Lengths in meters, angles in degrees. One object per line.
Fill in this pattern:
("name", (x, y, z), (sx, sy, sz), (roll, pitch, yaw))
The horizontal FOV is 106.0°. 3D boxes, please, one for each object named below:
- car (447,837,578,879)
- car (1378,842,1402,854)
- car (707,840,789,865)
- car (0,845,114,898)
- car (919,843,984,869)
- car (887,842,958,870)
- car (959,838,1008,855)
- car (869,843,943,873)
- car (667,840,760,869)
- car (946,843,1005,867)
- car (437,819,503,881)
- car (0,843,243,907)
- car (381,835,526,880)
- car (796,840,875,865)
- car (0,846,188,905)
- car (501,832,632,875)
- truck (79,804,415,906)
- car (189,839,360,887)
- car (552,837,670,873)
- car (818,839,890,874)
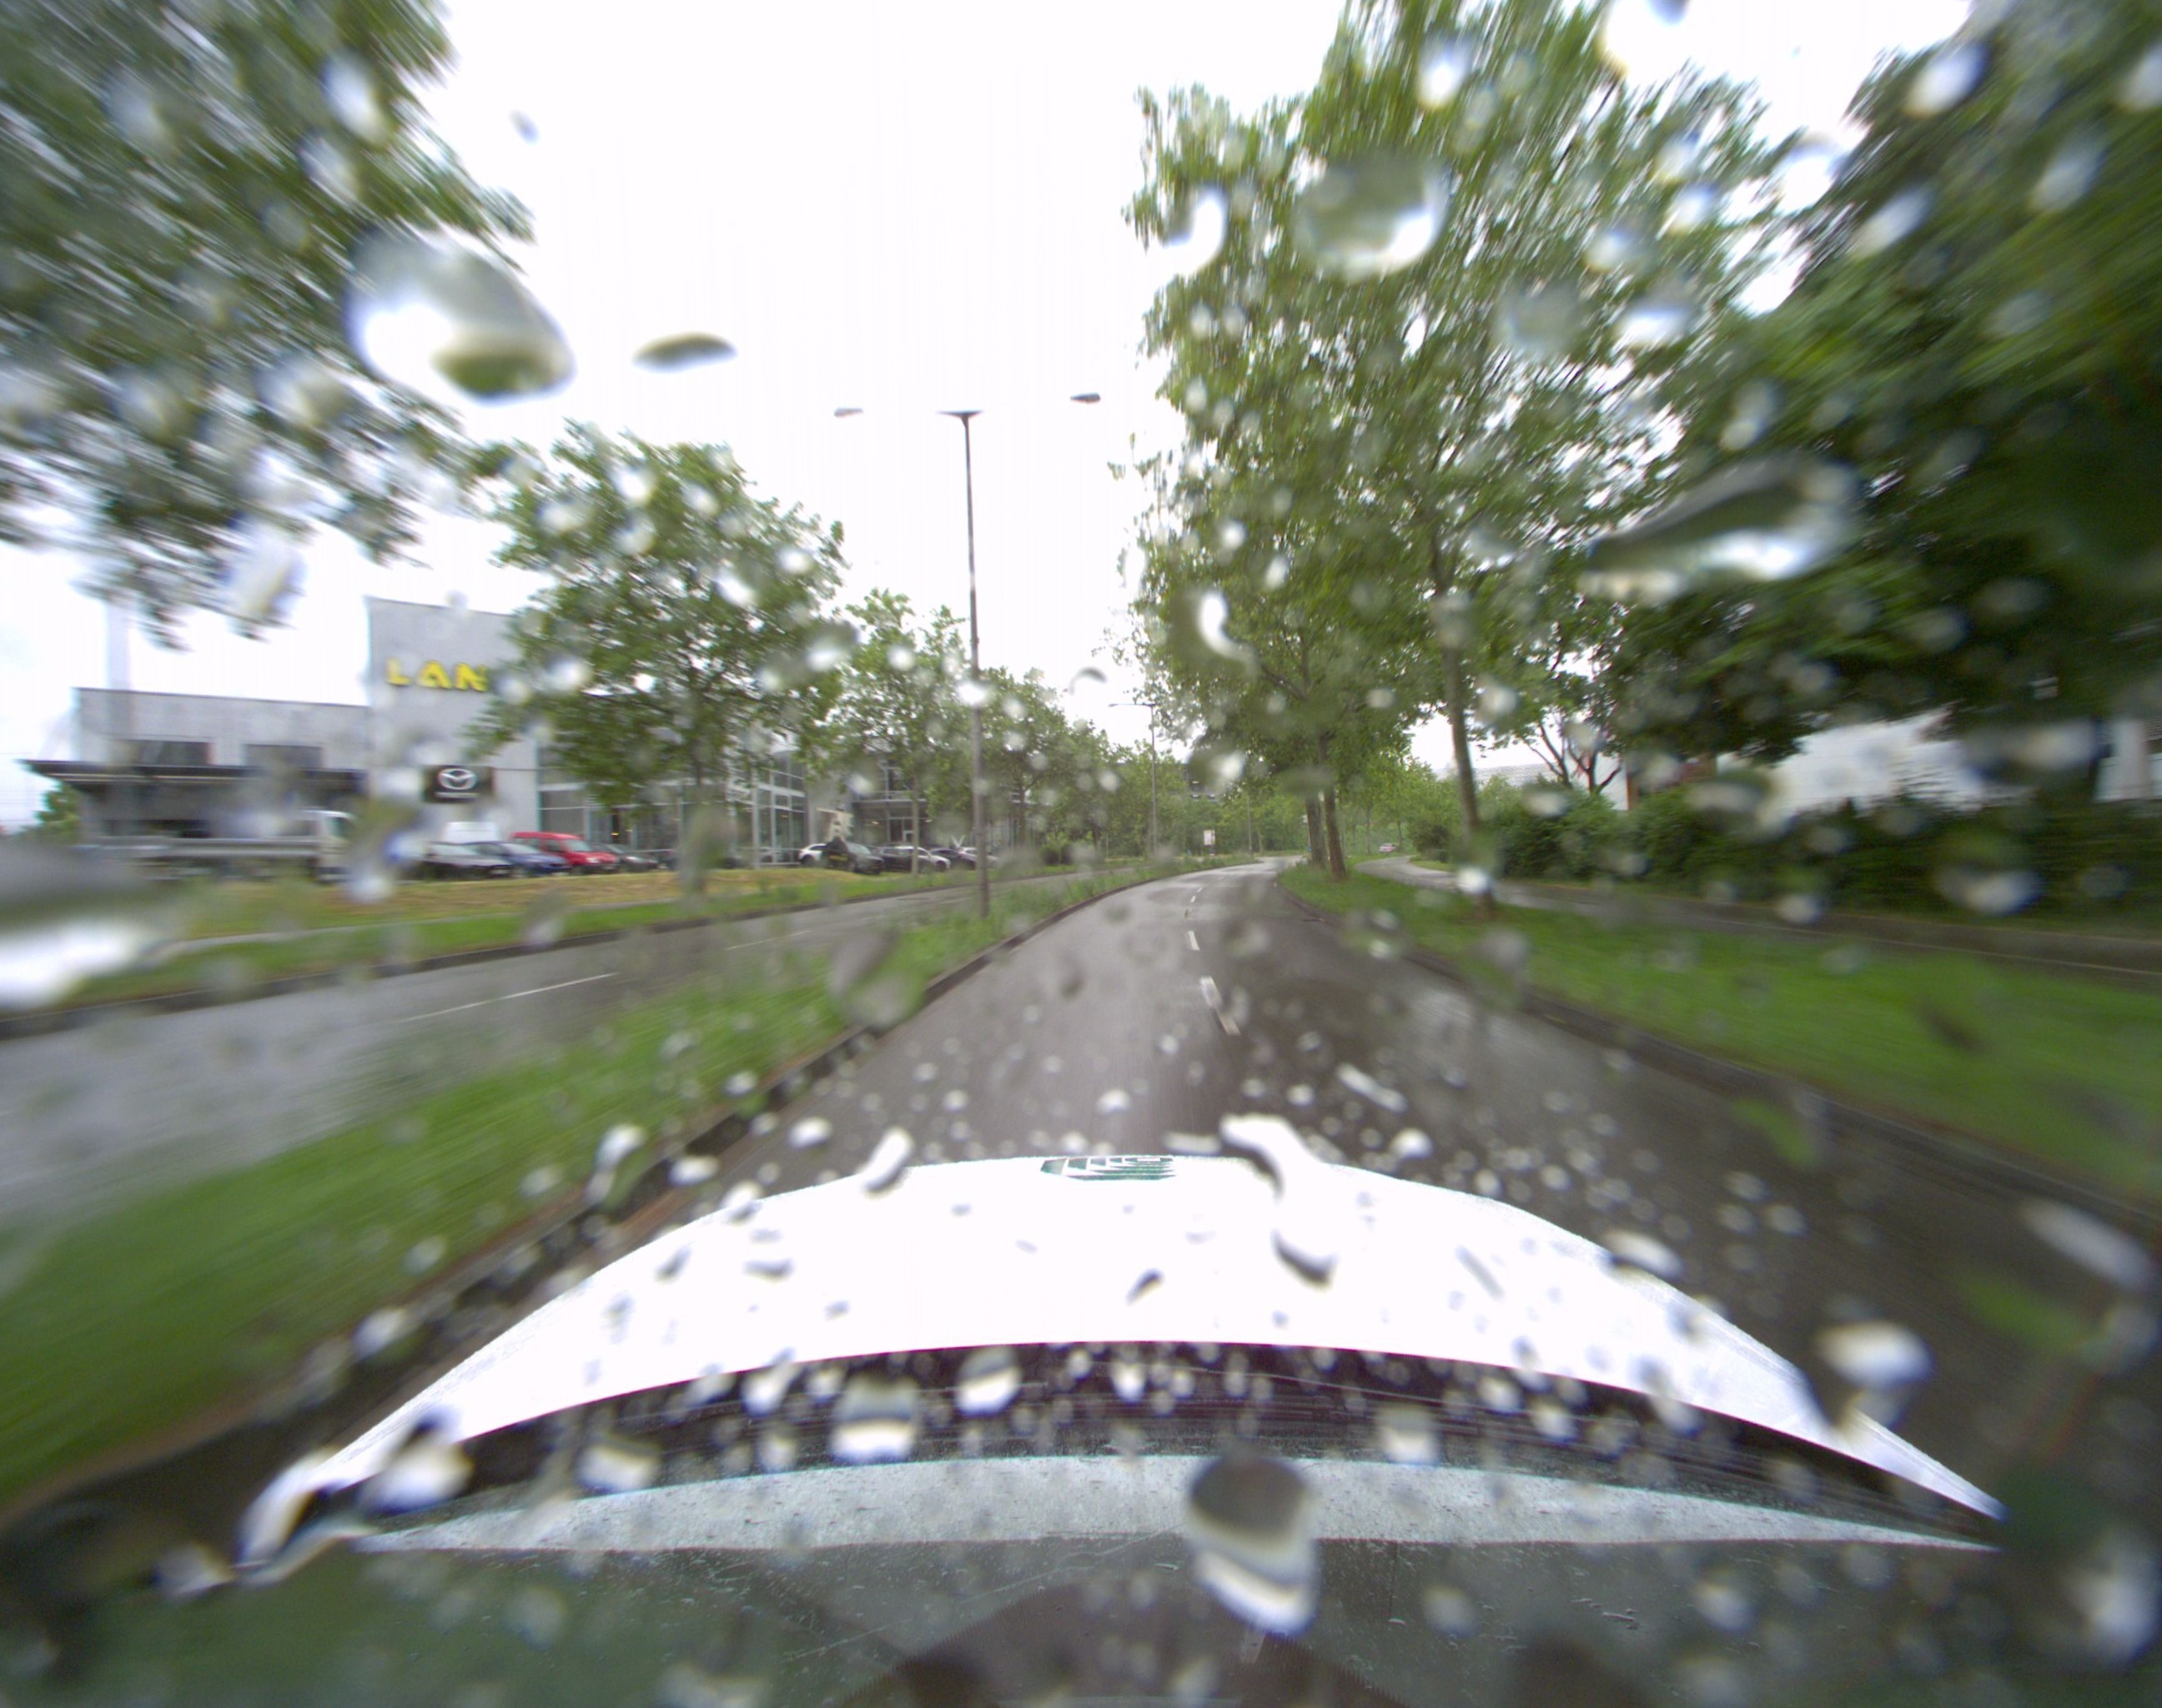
("car", (-20.145, 0.111, 28.933), (3.503, 1.326, 1.772), (1, 2, 7))
("car", (41.849, -0.808, 110.278), (1.762, 1.555, 4.026), (0, 2, 39))
("car", (-21.183, -0.094, 51.973), (4.409, 1.473, 1.919), (-1, 0, -1))
("car", (-30.591, 0.492, 22.872), (1.756, 1.396, 4.159), (0, 2, 2))
("car", (-9.190, 0.150, 57.871), (4.139, 1.422, 1.832), (4, 3, -28))
("car", (-10.495, 0.134, 54.055), (4.143, 1.478, 1.830), (4, 3, -32))
("car", (-8.720, -0.704, 73.276), (1.762, 1.476, 4.137), (-1, 0, 45))
("car", (-10.998, 0.261, 51.141), (4.134, 1.478, 1.834), (5, 3, -24))
("car", (-18.690, 0.040, 41.588), (3.996, 1.357, 1.841), (1, 2, -11))
("car", (-7.992, 0.076, 62.029), (4.017, 1.475, 1.766), (4, 3, -37))
("car", (-29.359, -0.214, 39.067), (2.182, 2.752, 5.276), (0, 1, -40))
("car", (-25.577, 0.484, 21.856), (1.756, 1.467, 4.159), (0, 2, 2))
("car", (-20.467, 0.077, 26.654), (3.503, 1.326, 1.772), (1, 2, 7))
("car", (-15.636, -0.074, 52.046), (4.400, 1.473, 1.923), (-1, 0, 5))
("car", (-28.243, 0.529, 22.816), (1.756, 1.396, 4.159), (0, 2, 2))
("car", (-19.892, -0.051, 31.563), (3.974, 1.557, 1.852), (1, 2, 7))
("truck", (-22.129, -0.062, 22.197), (2.234, 2.344, 6.211), (1, 2, 9))
("car", (-31.491, 0.306, 31.994), (4.680, 1.764, 1.798), (0, 1, -43))
("car", (-19.852, 0.013, 34.494), (3.974, 1.357, 1.852), (1, 2, 7))
("car", (-13.227, 0.124, 47.336), (4.382, 1.556, 1.858), (8, 3, 42))
